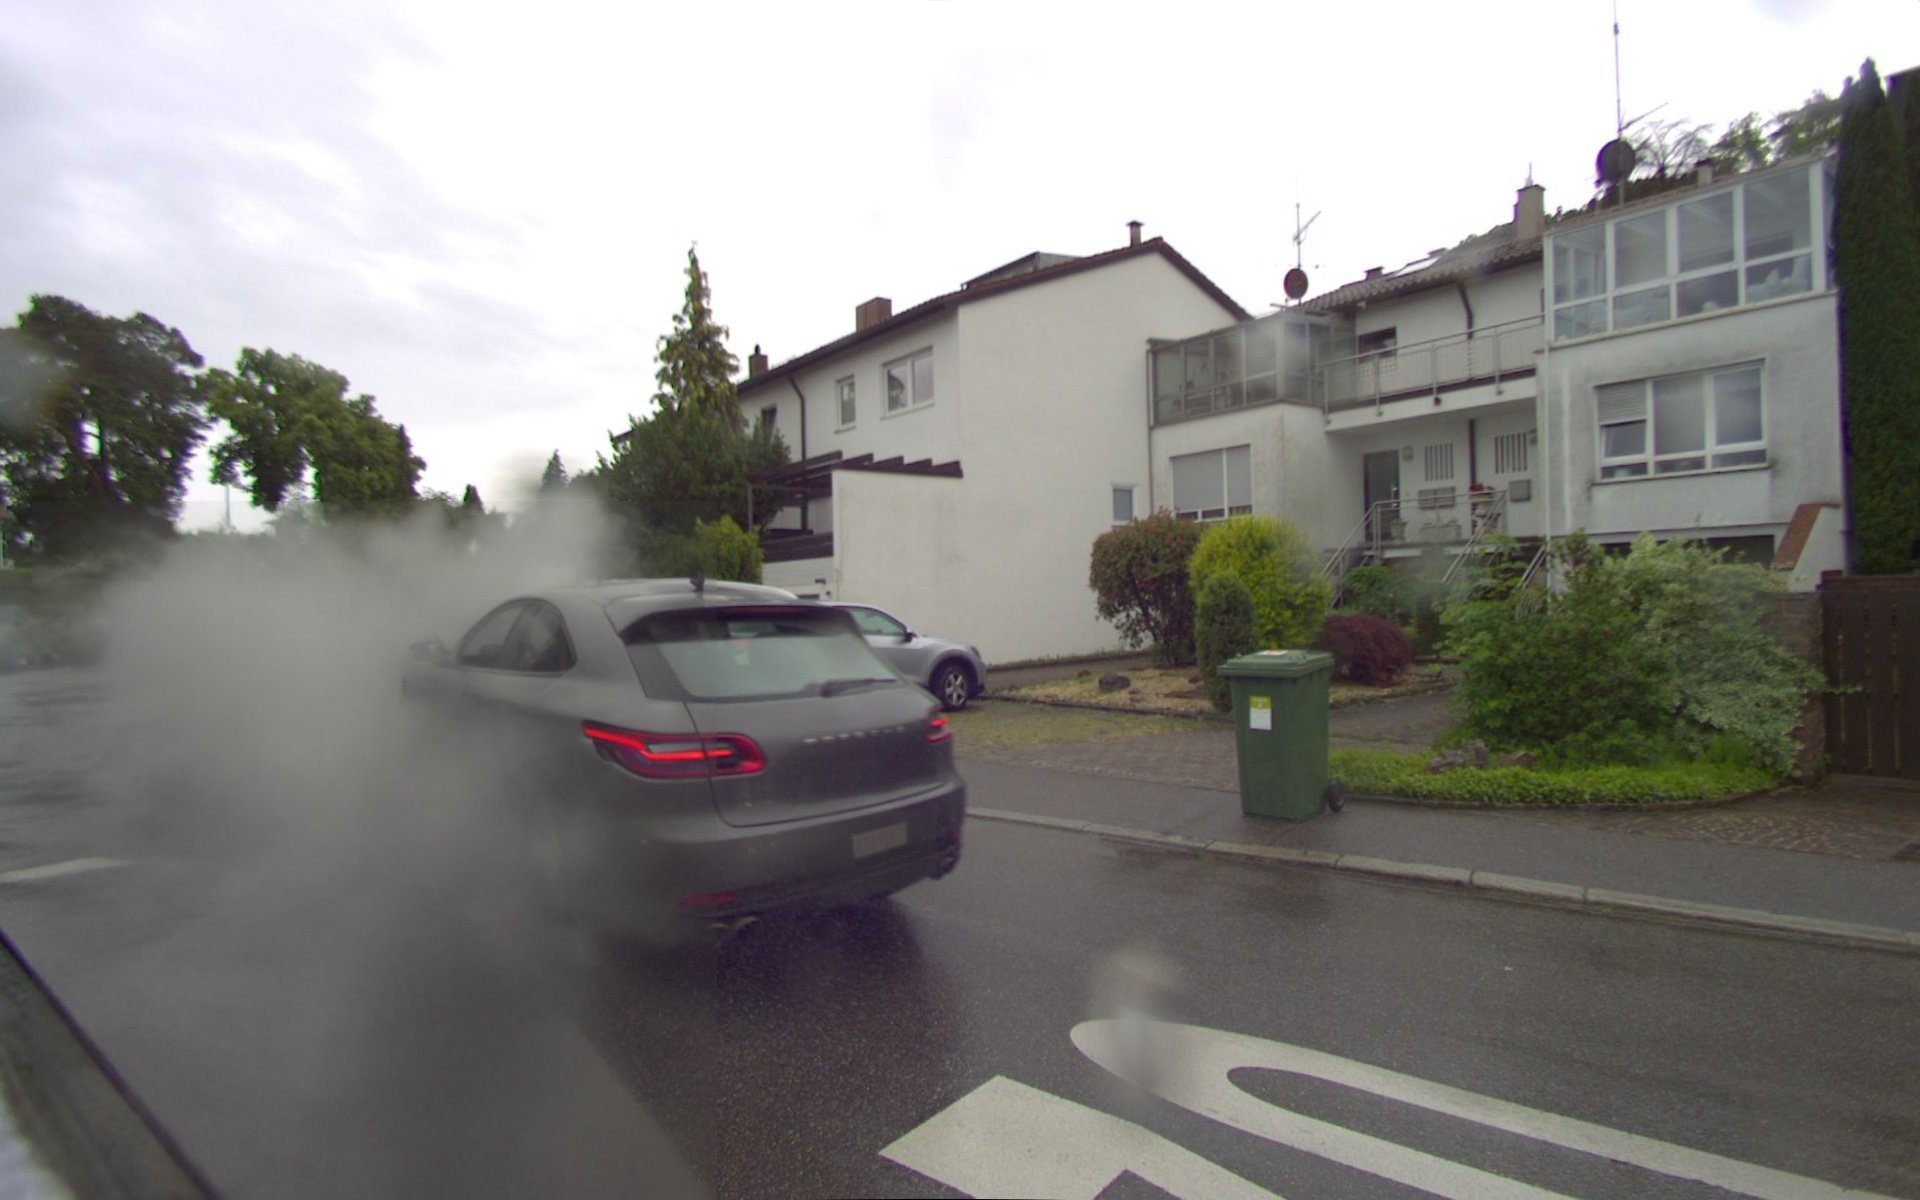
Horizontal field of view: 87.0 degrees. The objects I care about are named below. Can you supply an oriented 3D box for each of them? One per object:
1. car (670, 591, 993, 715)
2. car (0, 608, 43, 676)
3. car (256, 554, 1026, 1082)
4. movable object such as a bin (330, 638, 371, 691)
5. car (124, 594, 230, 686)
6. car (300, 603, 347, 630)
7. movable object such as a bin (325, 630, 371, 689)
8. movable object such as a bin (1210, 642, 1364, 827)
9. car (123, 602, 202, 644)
[{"bbox_3d":[-1.675,0.656,13.673,3.933,1.451,1.773,1,-1,-34],"label":"car"},{"bbox_3d":[-23.878,0.996,24.563,1.876,1.553,4.226,-1,0,-35],"label":"car"},{"bbox_3d":[-1.885,0.678,5.135,4.213,1.606,1.770,-1,0,41],"label":"car"},{"bbox_3d":[-11.206,1.171,18.604,0.571,0.947,0.505,2,-3,-38],"label":"movable object such as a bin"},{"bbox_3d":[-17.658,0.835,22.864,1.754,1.879,4.224,0,-1,-38],"label":"car"},{"bbox_3d":[-40.802,1.025,64.963,1.637,1.651,4.229,-1,0,-19],"label":"car"},{"bbox_3d":[-11.487,1.110,18.999,0.682,1.100,0.421,2,-3,-38],"label":"movable object such as a bin"},{"bbox_3d":[2.176,0.843,6.715,0.622,1.076,0.836,-3,0,44],"label":"movable object such as a bin"},{"bbox_3d":[-33.075,0.921,42.082,1.637,1.651,4.230,-1,0,-25],"label":"car"}]
